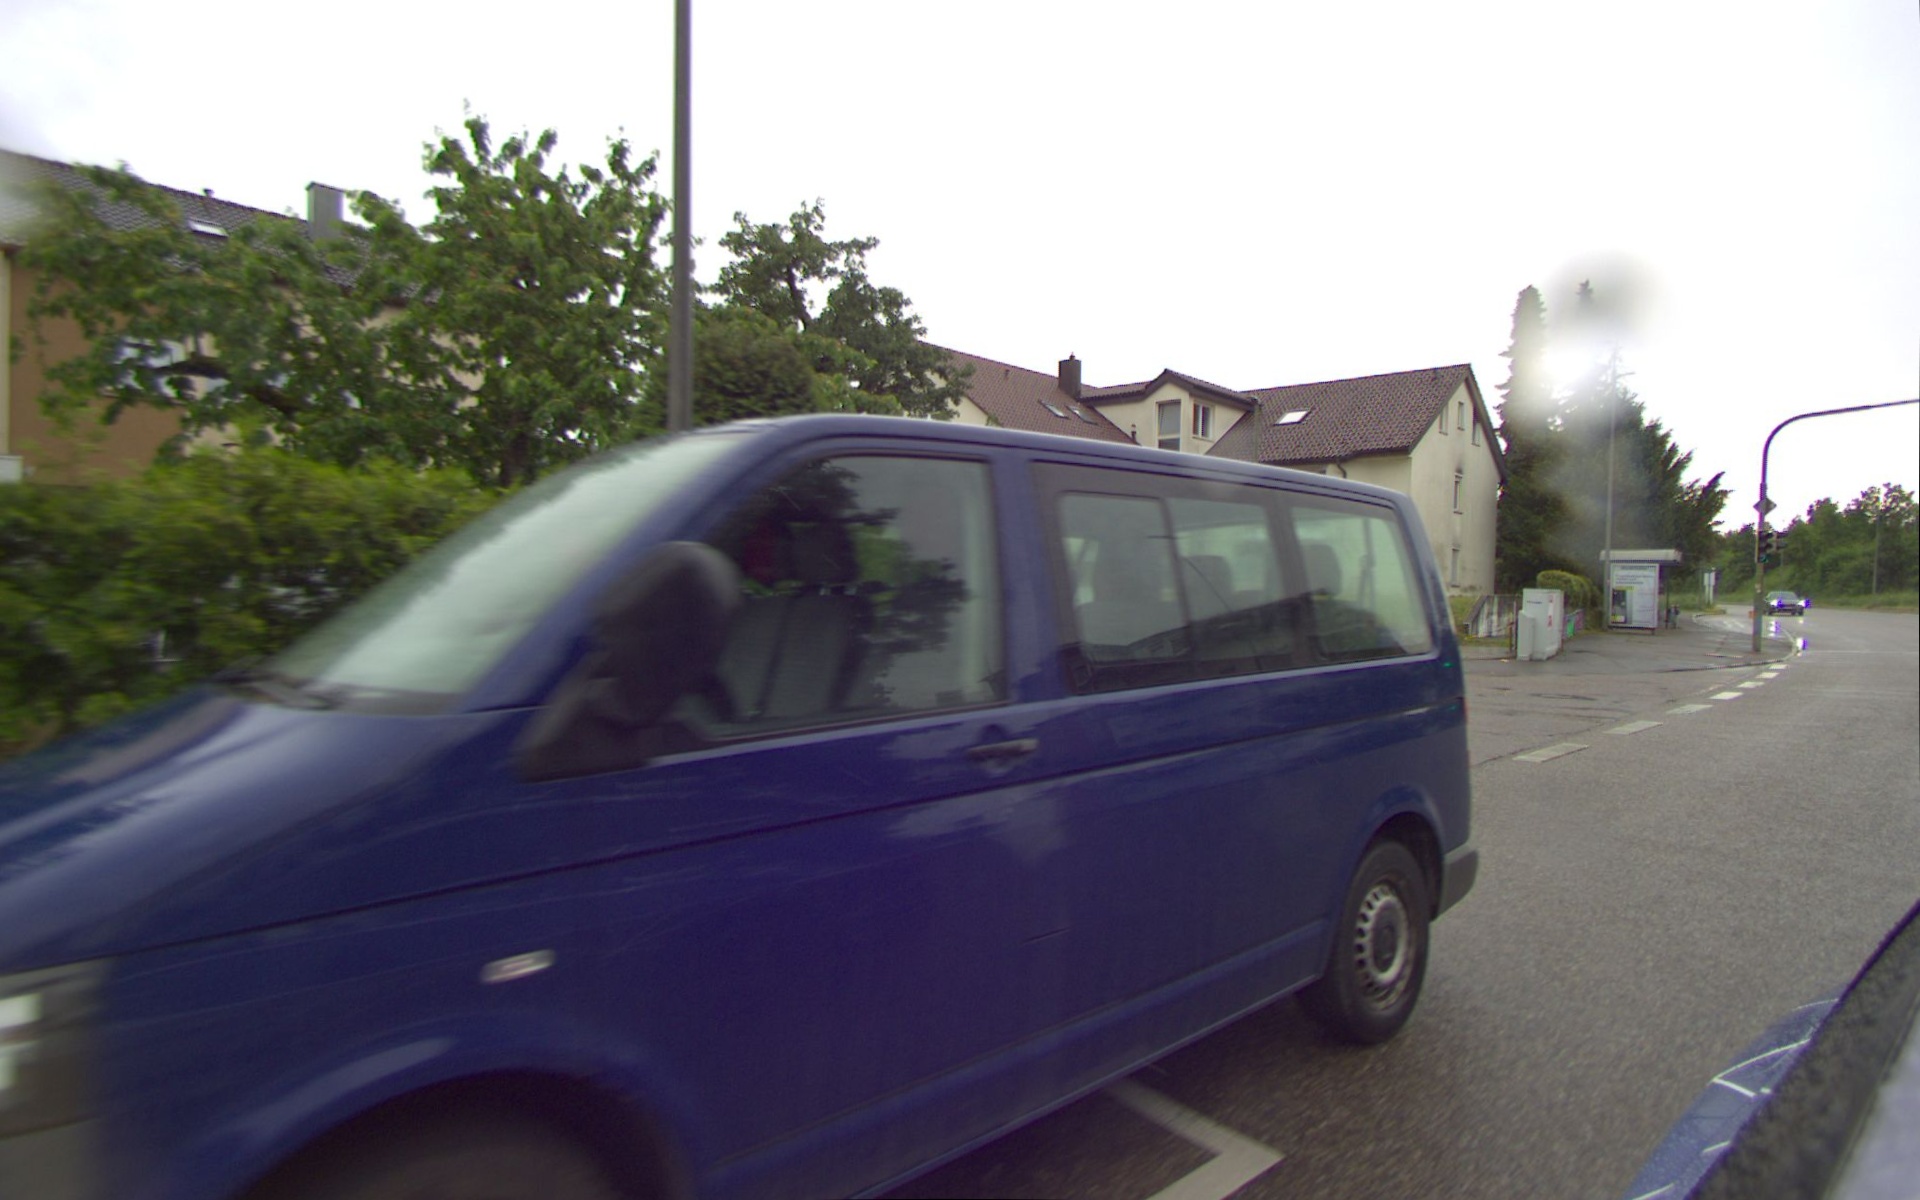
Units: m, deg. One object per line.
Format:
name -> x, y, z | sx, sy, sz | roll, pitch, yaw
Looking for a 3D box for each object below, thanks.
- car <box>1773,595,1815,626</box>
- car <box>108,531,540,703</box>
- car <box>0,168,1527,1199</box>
car -> 53.448, 0.624, 64.886 | 1.990, 1.865, 3.943 | 2, 1, 39
car -> -9.142, 0.206, 14.964 | 1.945, 2.110, 5.105 | 0, 0, 43
car -> -0.200, 0.456, 3.168 | 4.709, 1.926, 1.934 | -1, 0, -40
